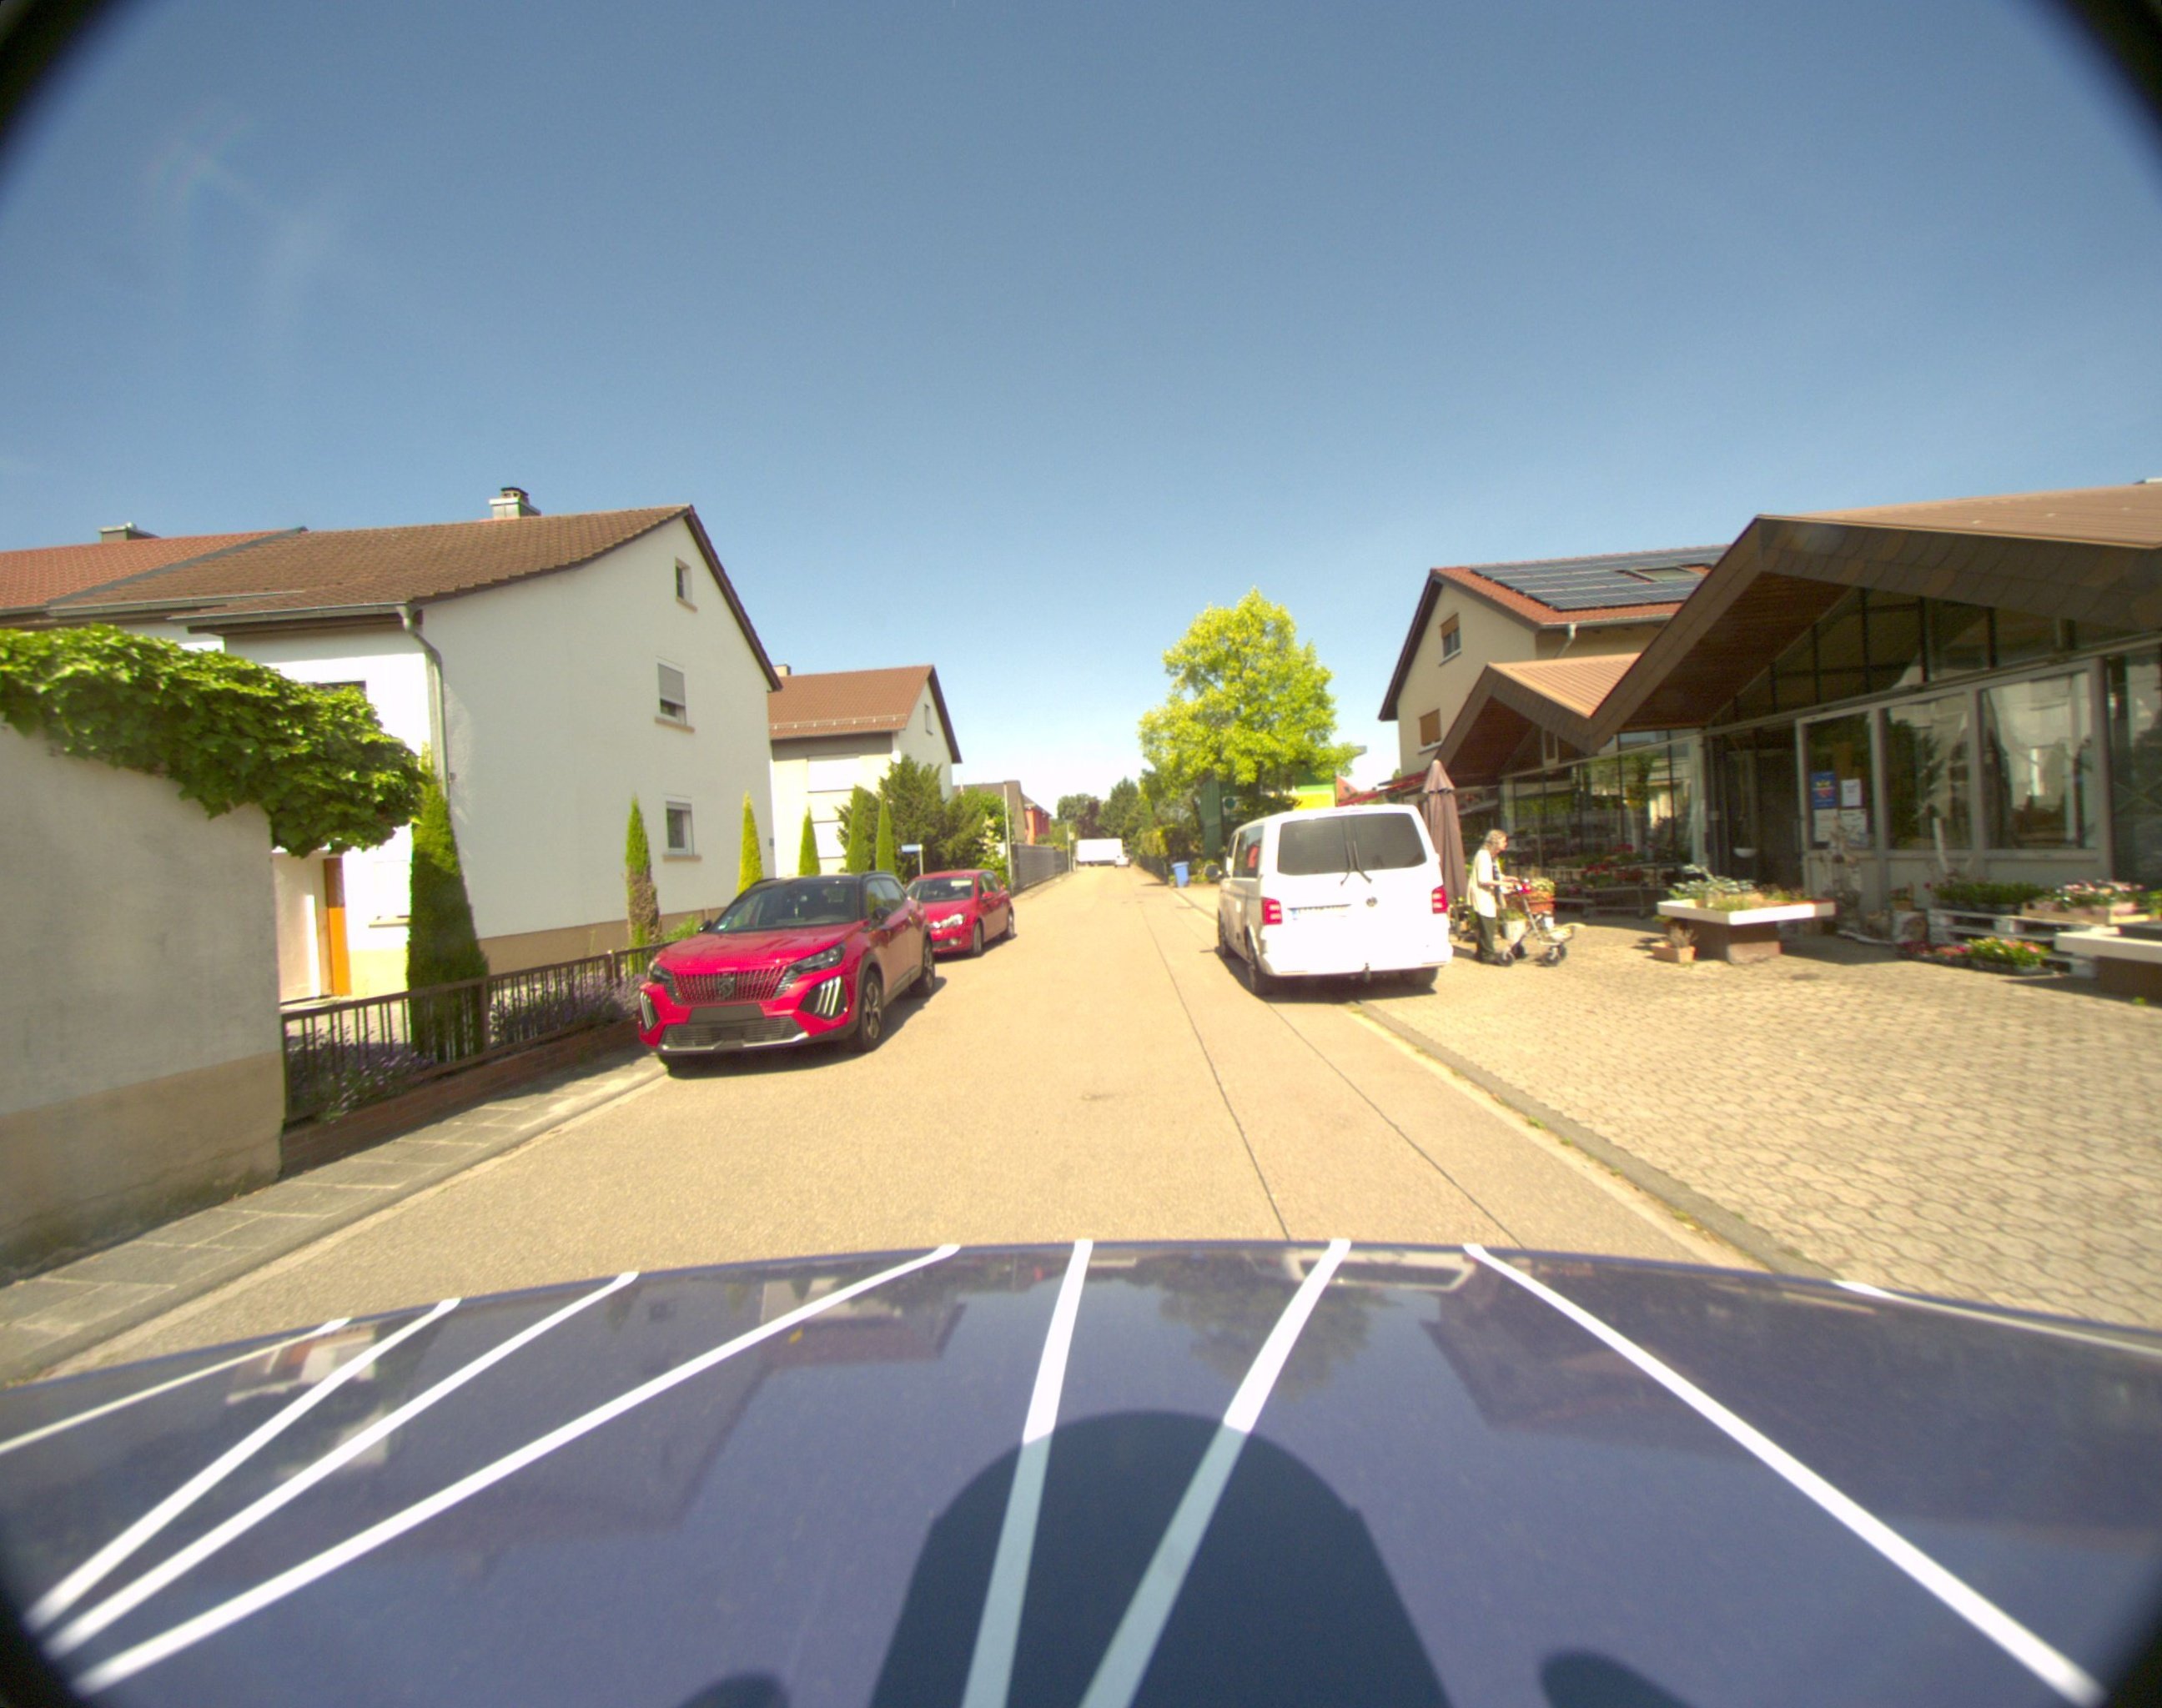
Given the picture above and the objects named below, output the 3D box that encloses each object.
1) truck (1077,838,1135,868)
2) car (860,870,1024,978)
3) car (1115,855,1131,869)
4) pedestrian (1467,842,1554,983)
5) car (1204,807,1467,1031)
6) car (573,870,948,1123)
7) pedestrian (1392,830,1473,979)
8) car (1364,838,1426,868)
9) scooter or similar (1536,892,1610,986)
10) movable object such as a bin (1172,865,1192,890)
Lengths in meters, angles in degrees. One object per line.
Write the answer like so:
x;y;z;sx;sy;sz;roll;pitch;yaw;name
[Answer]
3.499;-0.150;107.874;7.590;3.866;2.877;-3;0;-13;truck
-2.377;1.162;14.092;1.779;1.470;4.002;-5;0;6;car
4.725;0.903;85.825;1.757;1.478;4.376;-3;0;3;car
4.939;0.652;8.738;0.717;1.529;0.643;-4;0;36;pedestrian
2.763;0.606;9.549;1.933;2.002;4.897;-3;0;5;car
-2.646;1.066;7.445;1.827;1.606;4.000;-4;0;1;car
4.256;0.594;9.189;0.690;1.721;0.643;-4;0;34;pedestrian
17.480;-0.078;42.506;1.861;1.439;4.000;-5;1;3;car
5.428;0.914;8.383;0.601;0.940;0.622;-3;0;37;scooter or similar
4.408;1.029;33.286;0.732;1.048;0.612;-4;0;3;movable object such as a bin
